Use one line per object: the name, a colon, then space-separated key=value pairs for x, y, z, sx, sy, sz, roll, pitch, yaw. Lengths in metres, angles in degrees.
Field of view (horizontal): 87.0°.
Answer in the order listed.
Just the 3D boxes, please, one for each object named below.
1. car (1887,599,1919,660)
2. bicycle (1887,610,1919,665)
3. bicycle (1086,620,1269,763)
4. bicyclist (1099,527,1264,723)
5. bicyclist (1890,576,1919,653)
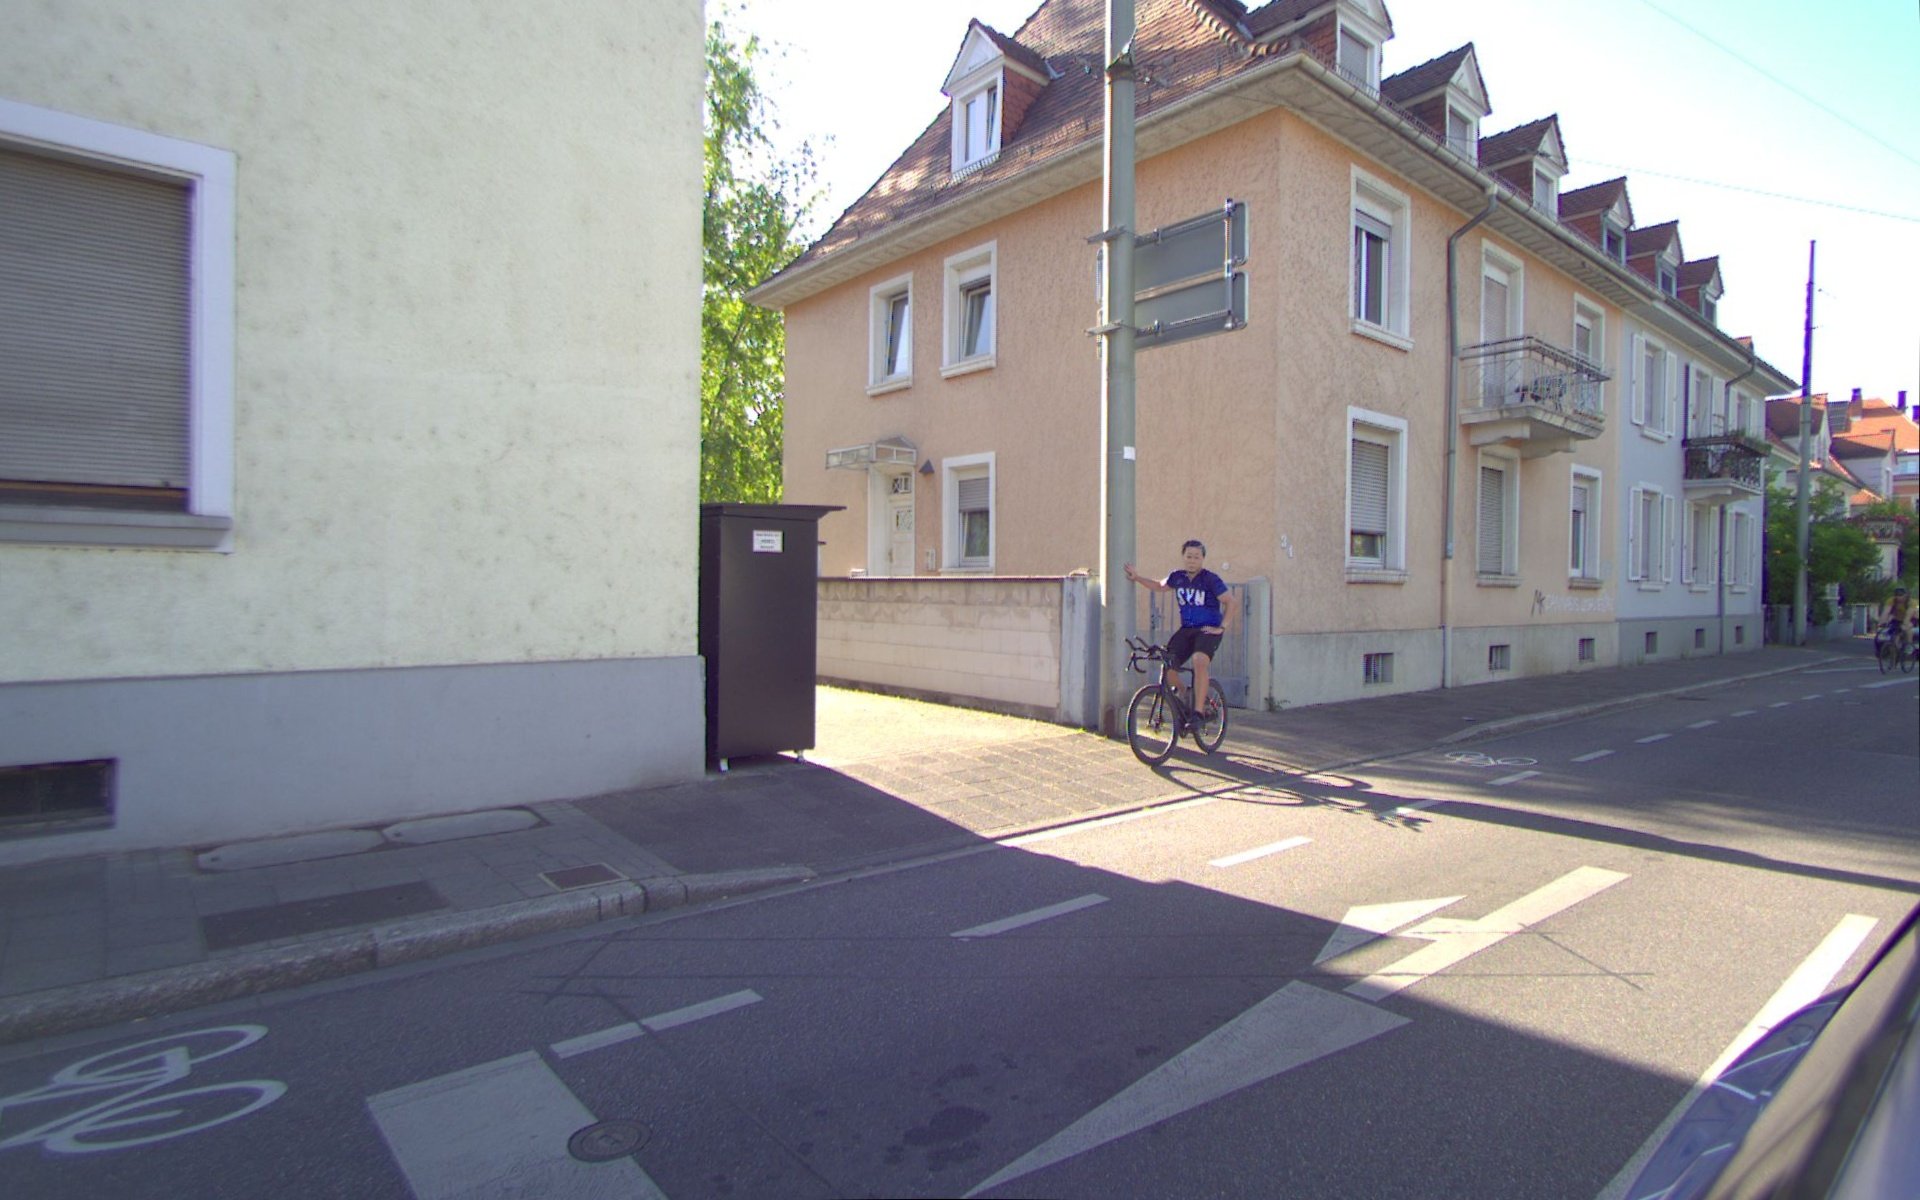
car: x=26.693 y=0.757 z=27.365 sx=3.742 sy=1.601 sz=1.696 roll=0 pitch=-1 yaw=-36
bicycle: x=20.690 y=0.796 z=21.926 sx=1.774 sy=1.118 sz=0.685 roll=-1 pitch=0 yaw=-41
bicycle: x=1.964 y=0.763 z=9.008 sx=1.744 sy=1.081 sz=0.592 roll=0 pitch=5 yaw=-41
bicyclist: x=2.023 y=0.191 z=9.297 sx=0.870 sy=1.627 sz=1.052 roll=1 pitch=5 yaw=-41
bicyclist: x=20.614 y=0.310 z=21.862 sx=0.841 sy=1.641 sz=0.685 roll=0 pitch=0 yaw=-41
